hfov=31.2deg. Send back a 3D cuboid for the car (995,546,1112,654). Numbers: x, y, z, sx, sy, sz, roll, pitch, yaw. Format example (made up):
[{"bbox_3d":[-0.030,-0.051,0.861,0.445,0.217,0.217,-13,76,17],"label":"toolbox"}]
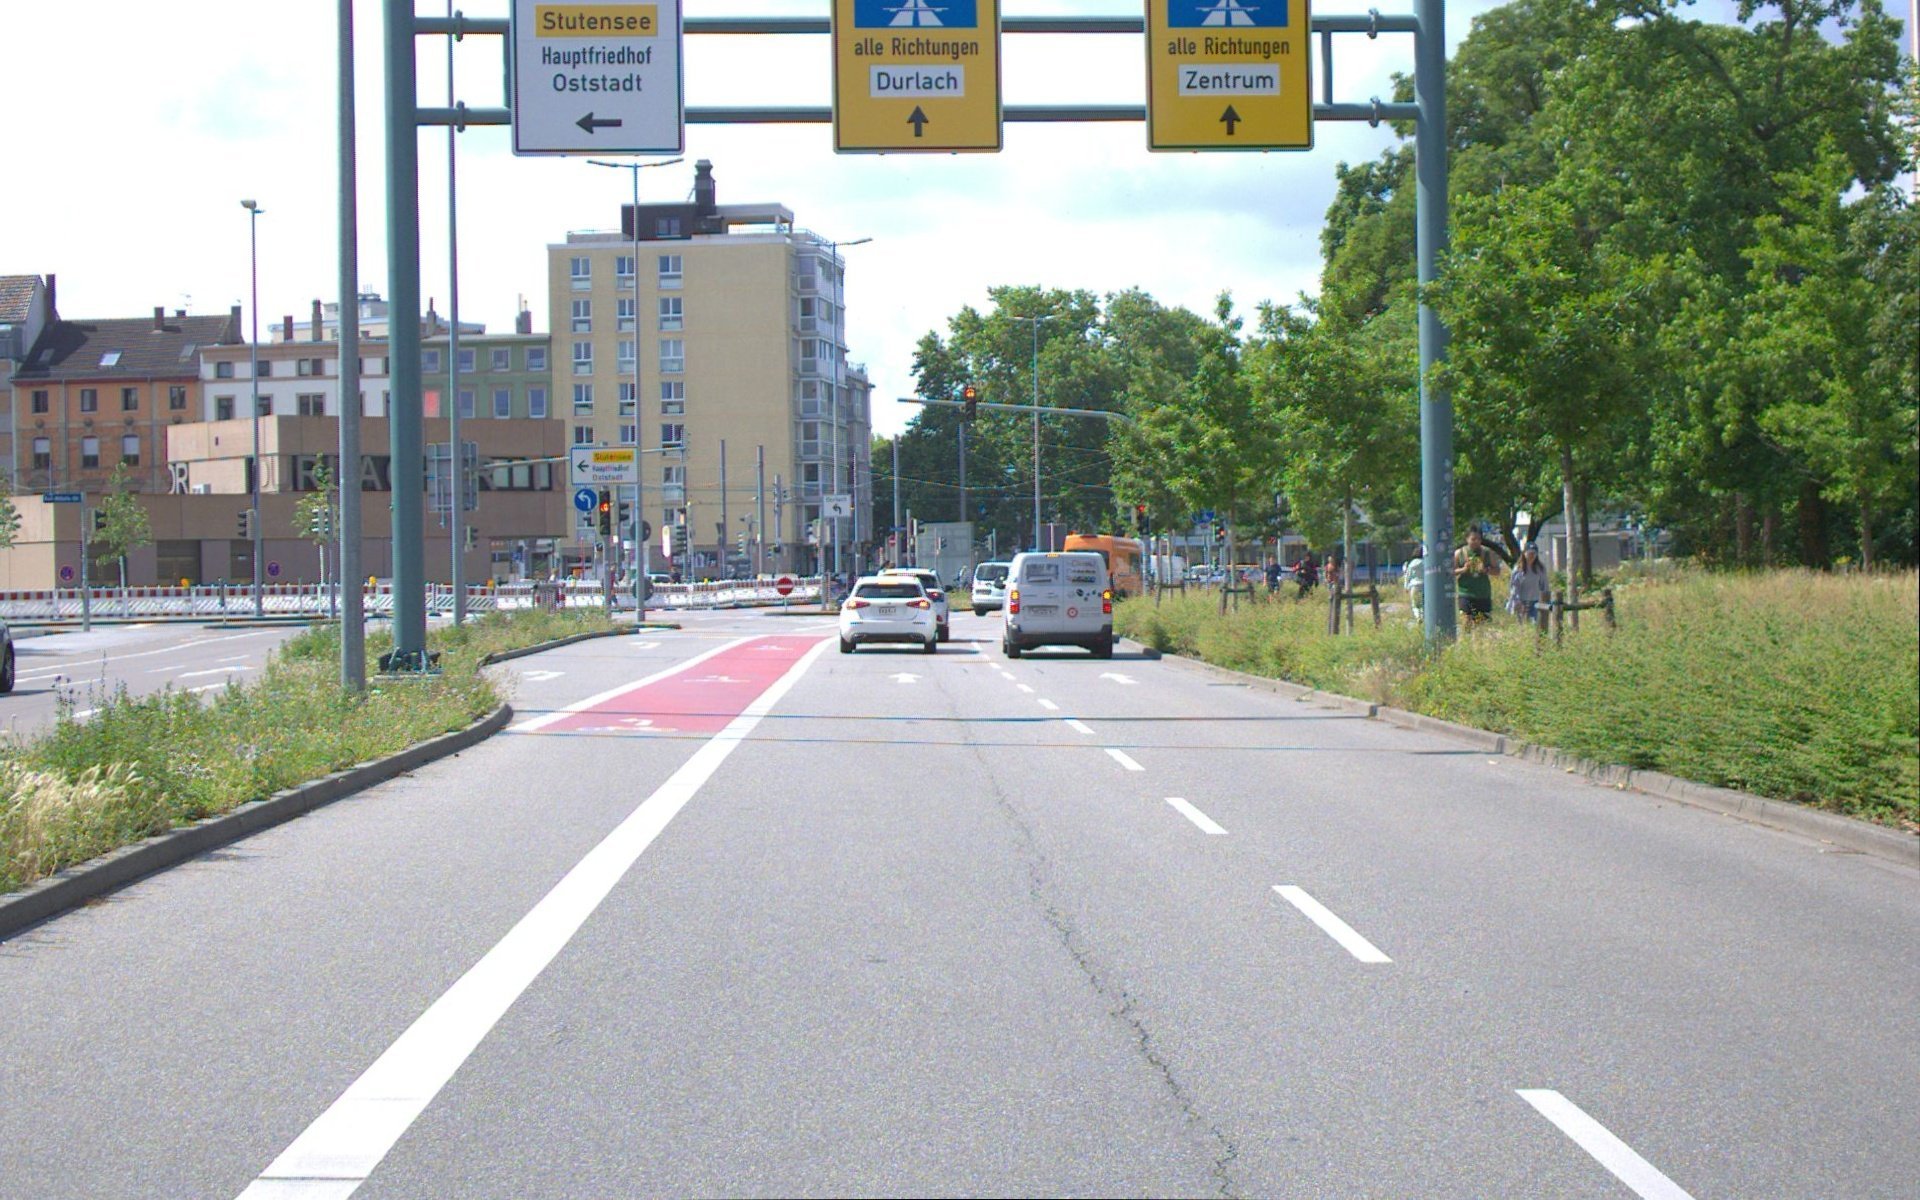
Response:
[{"bbox_3d":[1.649,-0.030,62.277,1.942,1.863,4.825,-1,1,0],"label":"car"}]

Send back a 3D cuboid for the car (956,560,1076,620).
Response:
[{"bbox_3d":[1.845,-0.306,112.055,1.997,1.809,3.992,2,0,33],"label":"car"}]

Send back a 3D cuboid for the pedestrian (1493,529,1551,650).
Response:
[{"bbox_3d":[7.423,-0.144,45.454,0.623,1.575,0.708,-1,1,-1],"label":"pedestrian"}]

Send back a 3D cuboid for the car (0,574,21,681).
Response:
[{"bbox_3d":[-13.732,0.413,45.230,1.700,1.440,4.146,-2,1,-2],"label":"car"}]

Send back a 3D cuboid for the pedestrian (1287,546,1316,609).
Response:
[{"bbox_3d":[9.457,-0.630,95.300,0.742,1.729,0.679,-1,0,3],"label":"pedestrian"}]

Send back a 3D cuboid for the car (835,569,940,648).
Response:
[{"bbox_3d":[-1.352,0.136,65.344,1.904,1.419,4.385,-1,1,0],"label":"car"}]

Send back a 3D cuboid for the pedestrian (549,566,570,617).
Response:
[{"bbox_3d":[-13.712,-0.298,117.704,0.525,1.727,0.623,-1,0,9],"label":"pedestrian"}]

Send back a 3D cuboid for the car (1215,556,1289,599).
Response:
[{"bbox_3d":[13.014,-1.019,152.970,1.996,1.820,3.995,-1,0,24],"label":"car"}]

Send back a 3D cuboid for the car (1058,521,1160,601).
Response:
[{"bbox_3d":[5.372,-1.393,123.345,2.132,2.771,4.633,-1,0,23],"label":"car"}]

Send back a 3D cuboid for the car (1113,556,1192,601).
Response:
[{"bbox_3d":[8.580,-0.972,152.786,2.008,1.960,4.633,-1,0,23],"label":"car"}]

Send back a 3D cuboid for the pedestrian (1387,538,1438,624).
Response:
[{"bbox_3d":[8.682,-0.373,66.025,0.868,1.633,0.721,-1,0,1],"label":"pedestrian"}]

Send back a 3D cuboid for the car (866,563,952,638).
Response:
[{"bbox_3d":[-1.081,-0.014,74.020,1.791,1.534,4.011,1,1,0],"label":"car"}]

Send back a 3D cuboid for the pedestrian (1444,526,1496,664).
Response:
[{"bbox_3d":[6.709,-0.069,45.253,0.567,1.795,0.639,-1,1,-1],"label":"pedestrian"}]
